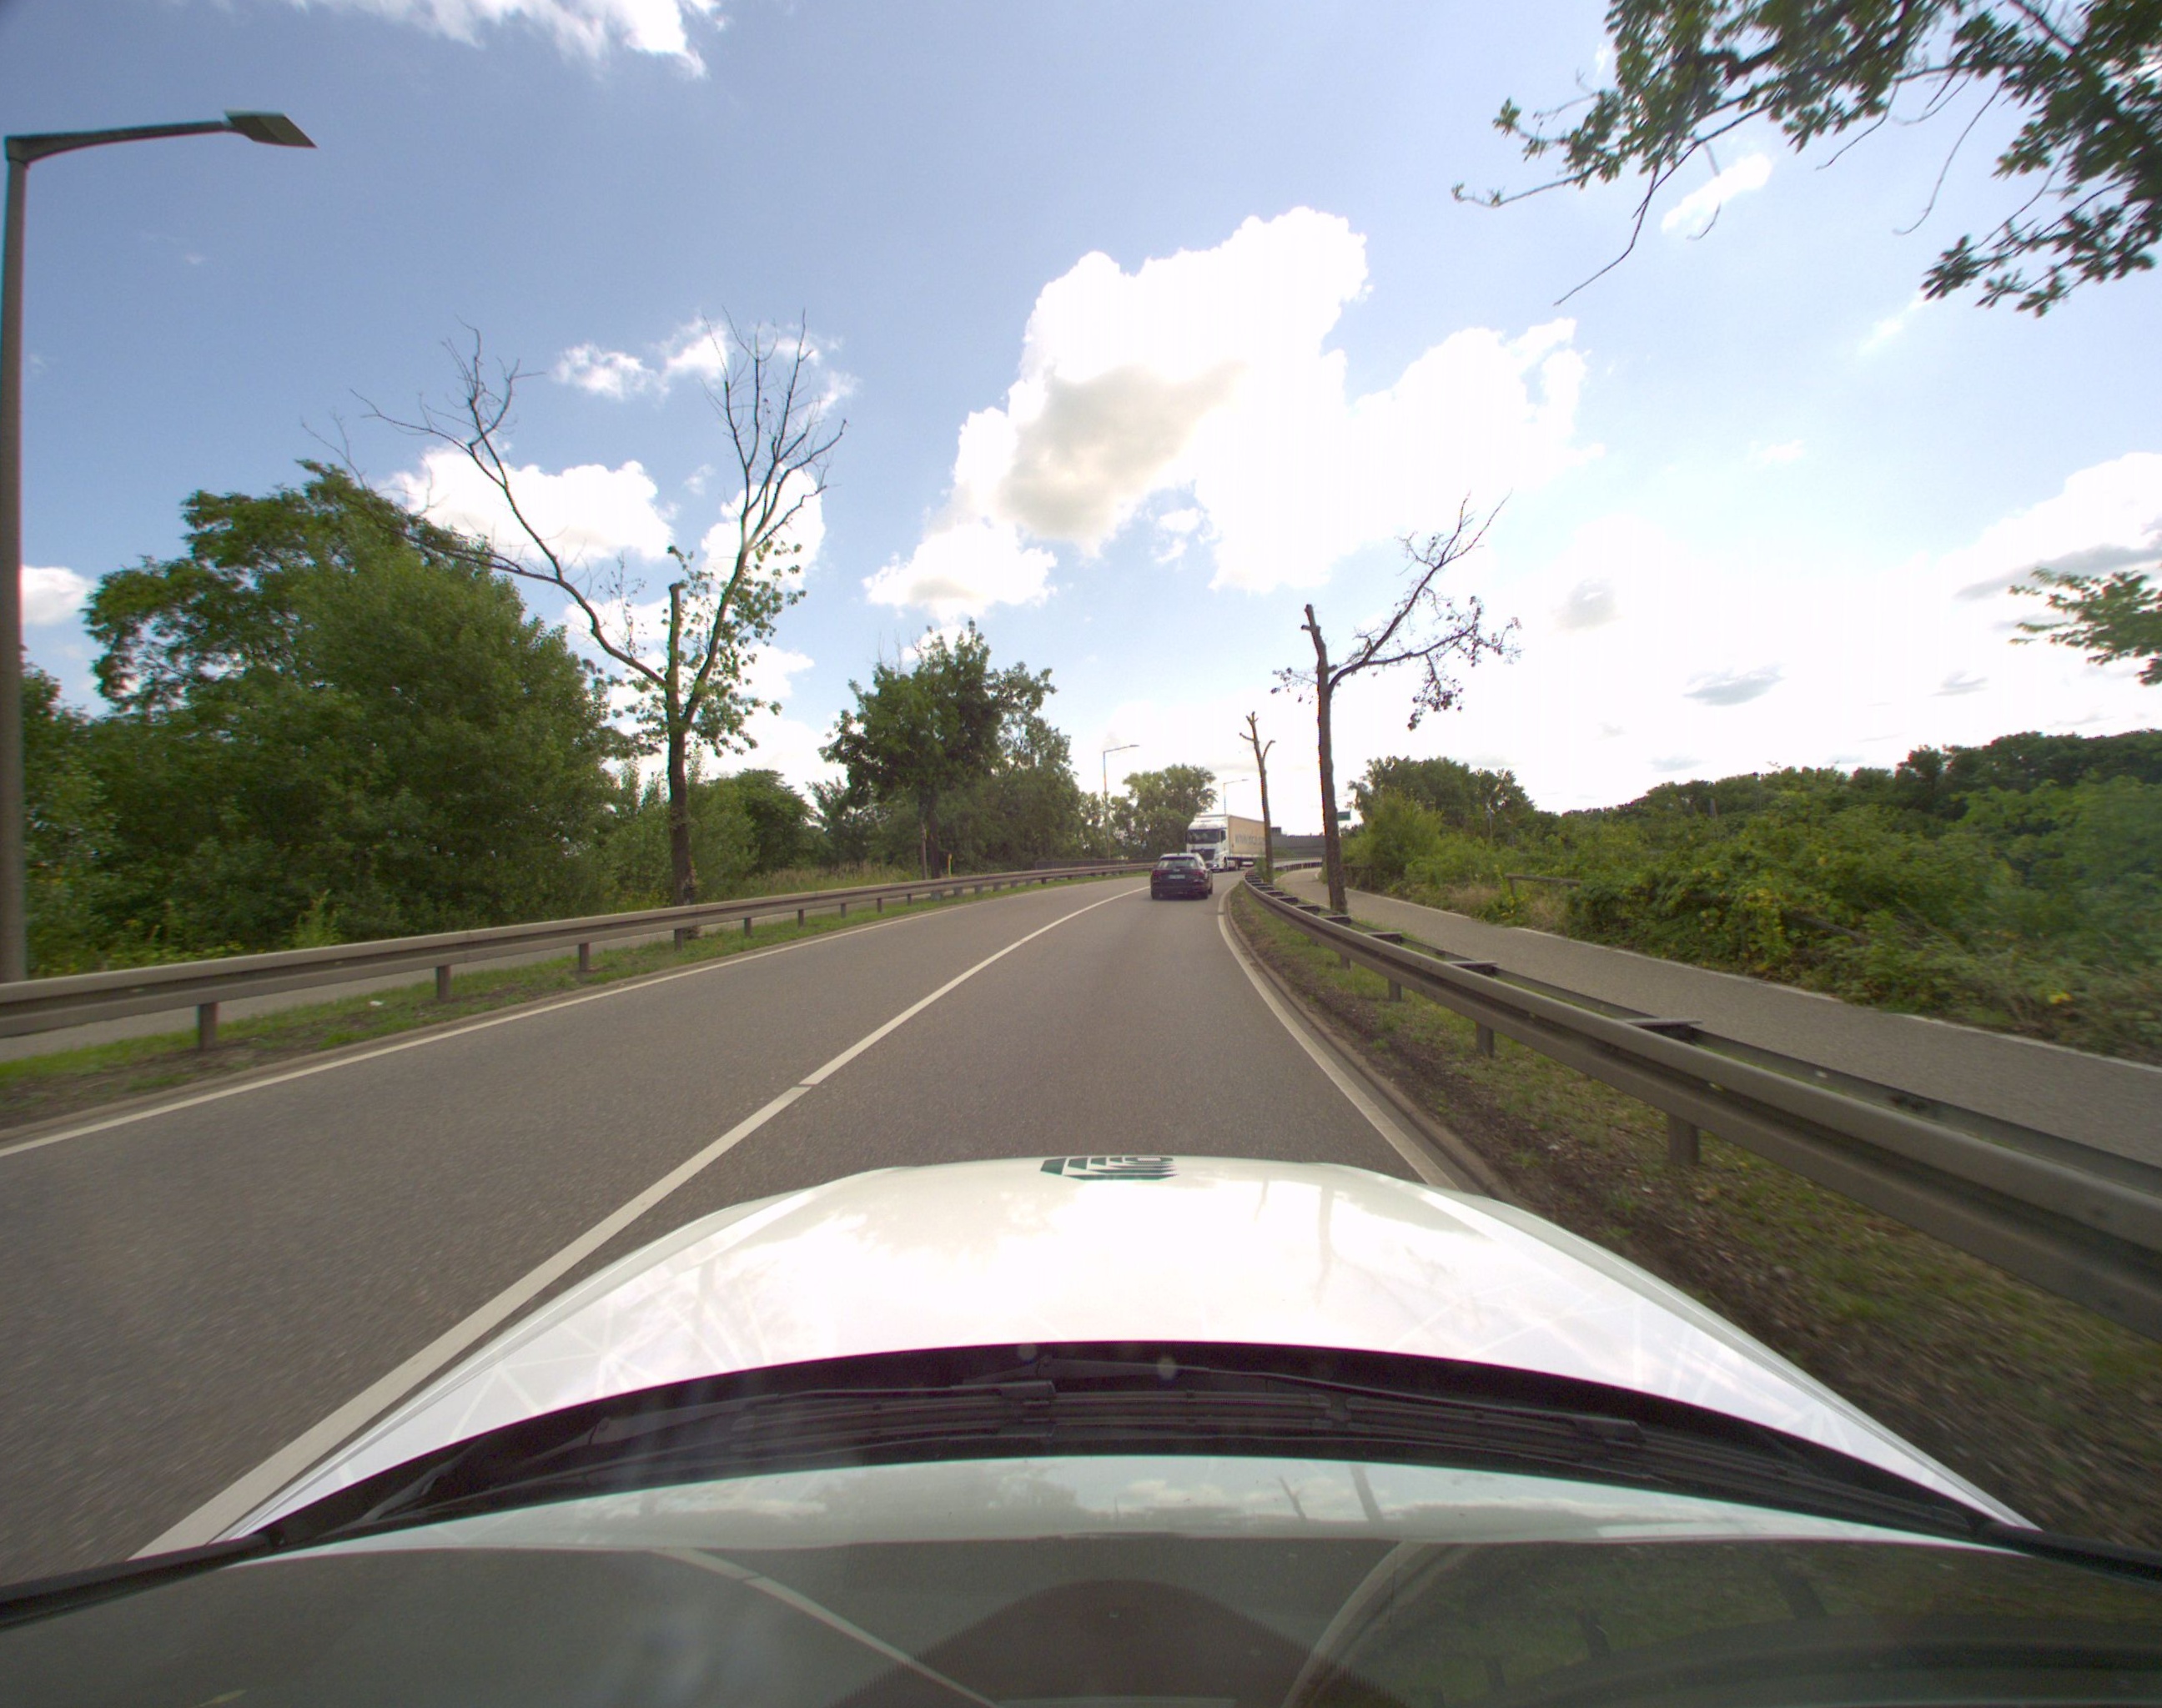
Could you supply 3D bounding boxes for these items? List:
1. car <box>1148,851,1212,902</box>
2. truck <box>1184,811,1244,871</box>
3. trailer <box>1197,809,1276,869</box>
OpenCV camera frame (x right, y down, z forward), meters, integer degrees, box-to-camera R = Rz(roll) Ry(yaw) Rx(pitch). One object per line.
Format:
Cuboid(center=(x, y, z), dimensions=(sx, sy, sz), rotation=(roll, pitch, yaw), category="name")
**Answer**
Cuboid(center=(3.325, 0.678, 26.815), dimensions=(1.816, 1.491, 4.219), rotation=(0, 1, 11), category="car")
Cuboid(center=(9.668, -0.909, 58.883), dimensions=(2.736, 4.134, 5.686), rotation=(-1, 0, 25), category="truck")
Cuboid(center=(12.802, -1.082, 65.593), dimensions=(2.681, 4.280, 14.314), rotation=(-1, 0, 25), category="trailer")
